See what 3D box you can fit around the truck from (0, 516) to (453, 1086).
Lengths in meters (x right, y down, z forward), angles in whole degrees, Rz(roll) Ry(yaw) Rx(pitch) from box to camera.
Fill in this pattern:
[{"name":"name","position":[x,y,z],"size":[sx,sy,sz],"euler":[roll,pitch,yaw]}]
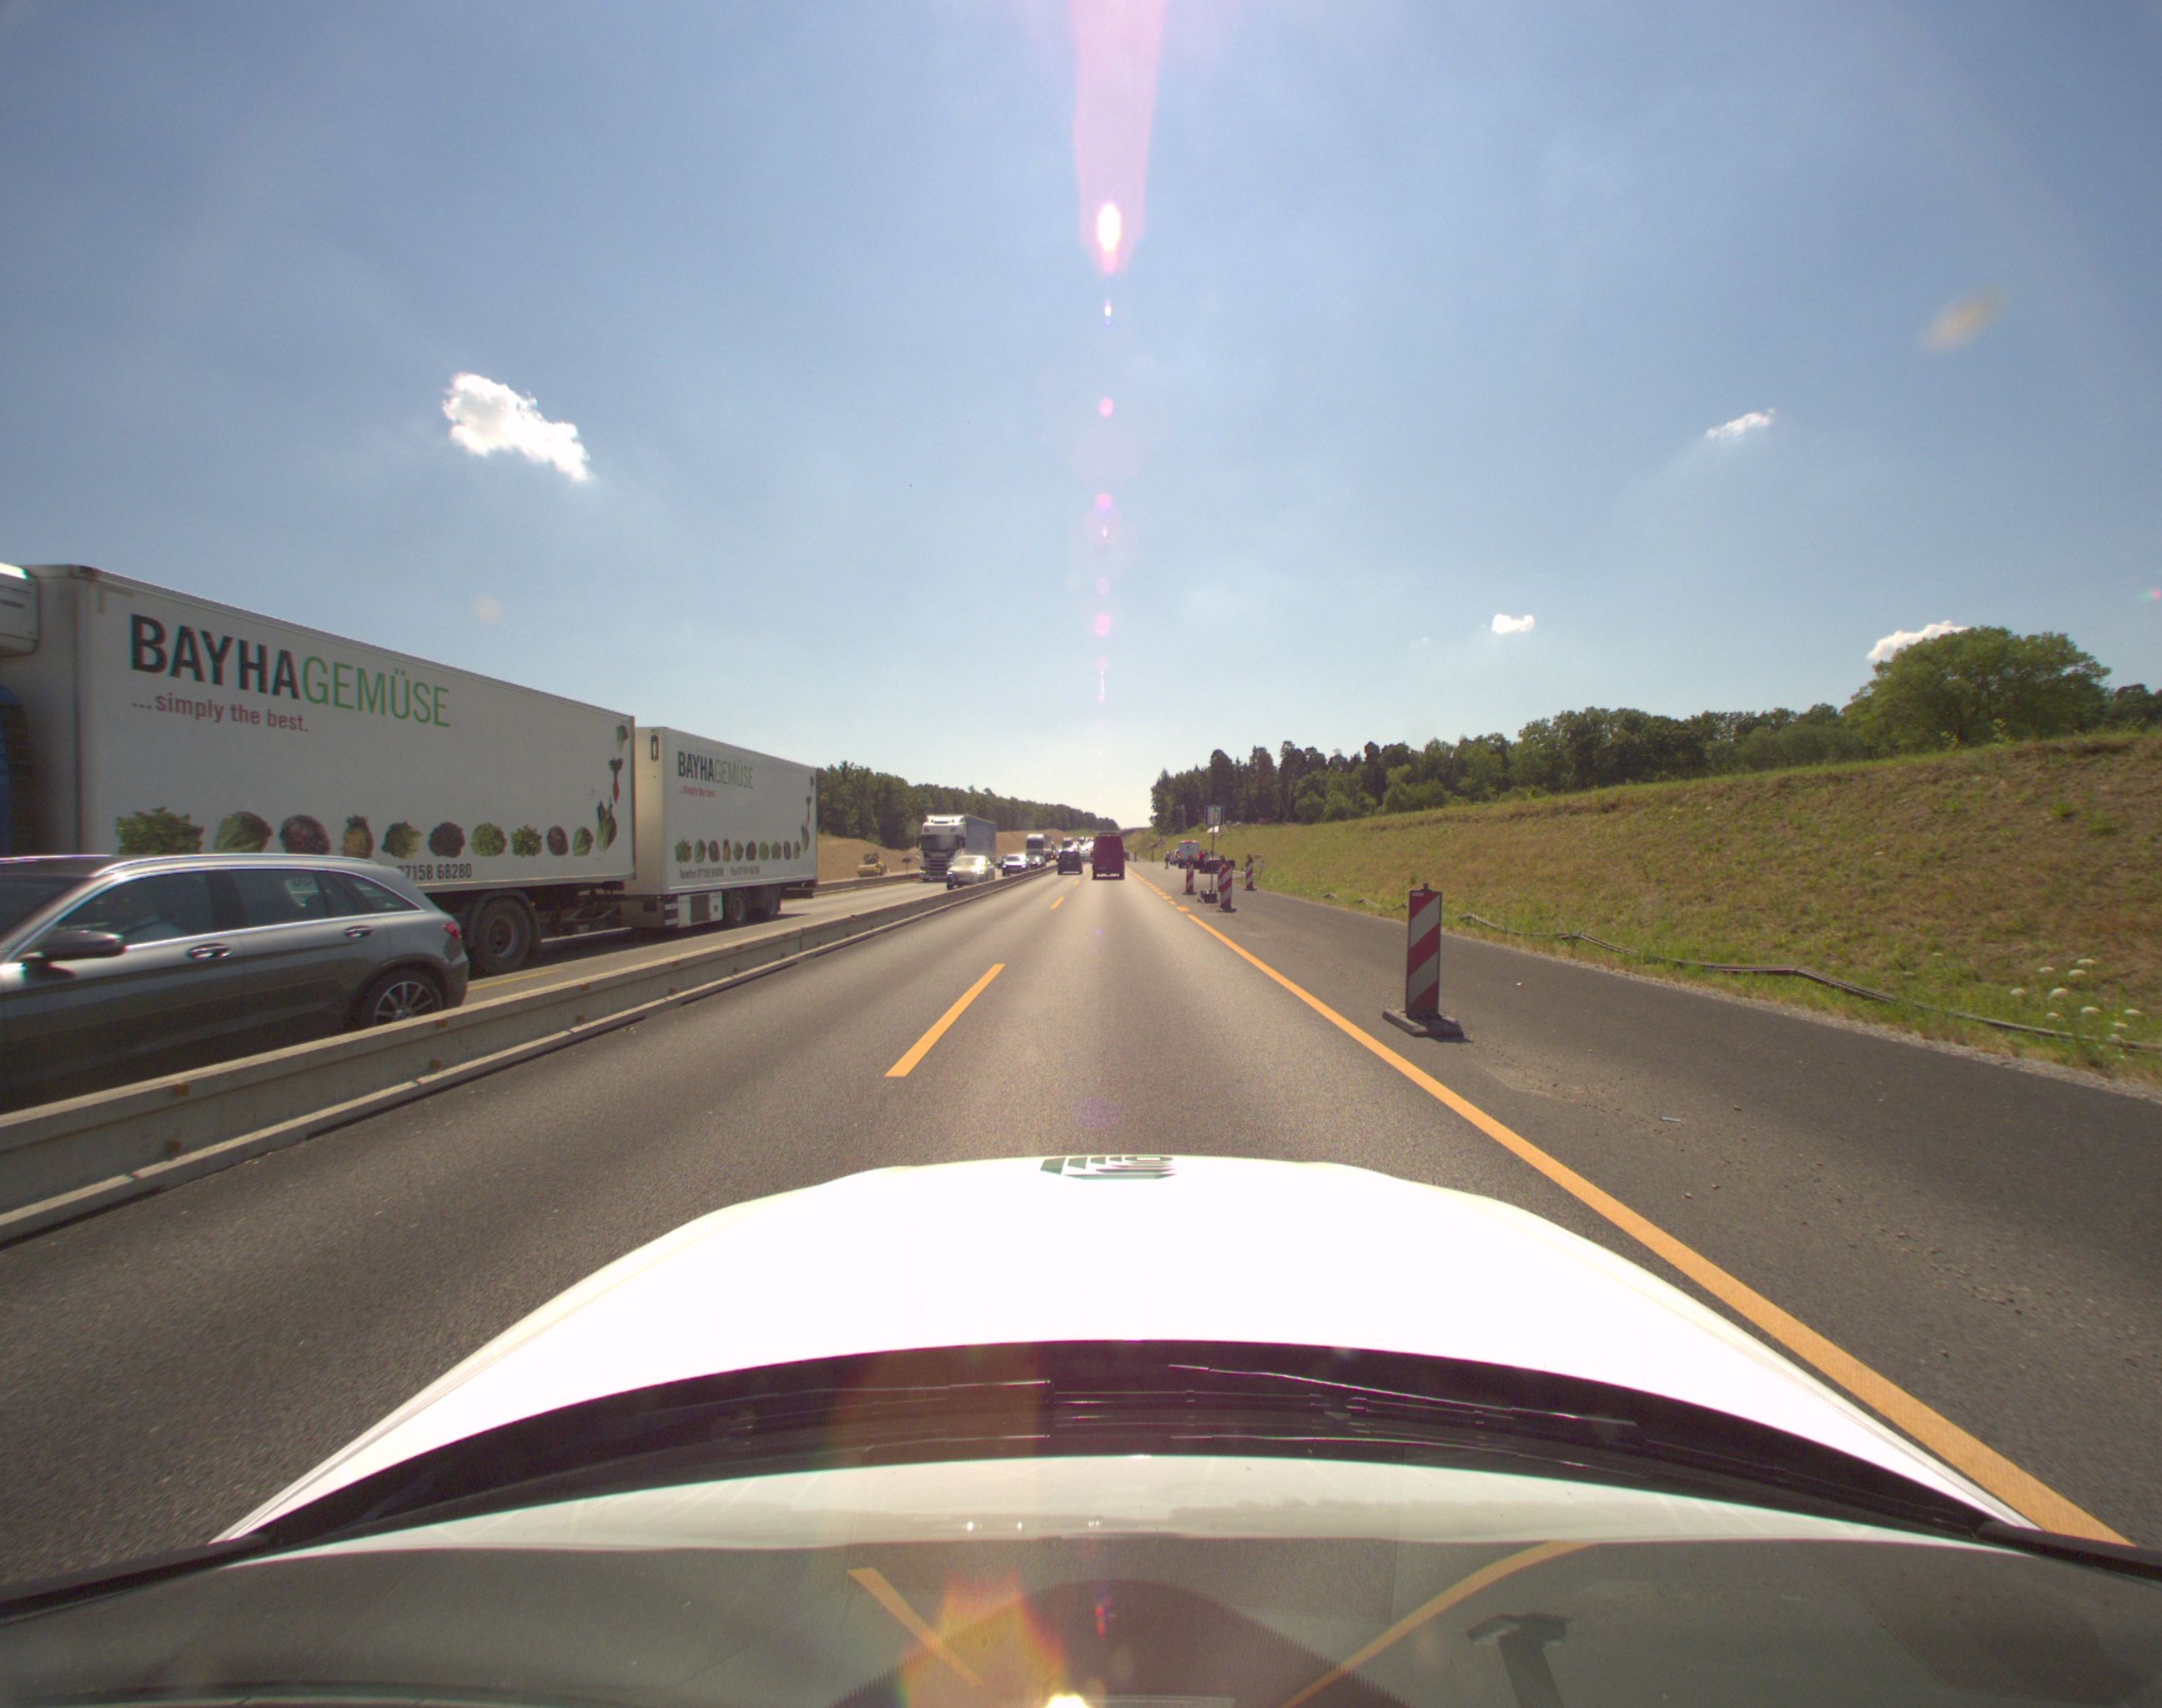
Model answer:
[{"name":"truck","position":[-9.137,-0.359,7.050],"size":[2.481,4.198,5.916],"euler":[-2,0,3]}]

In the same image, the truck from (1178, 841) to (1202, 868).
[{"name":"truck","position":[10.513,0.010,78.287],"size":[2.117,2.457,5.940],"euler":[0,0,9]}]

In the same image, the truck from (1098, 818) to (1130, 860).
[{"name":"truck","position":[4.789,-2.010,119.359],"size":[4.383,5.496,16.608],"euler":[0,-1,2]}]

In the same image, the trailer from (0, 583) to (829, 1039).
[{"name":"trailer","position":[-8.792,-0.378,15.405],"size":[2.492,4.179,15.541],"euler":[-2,0,2]}]

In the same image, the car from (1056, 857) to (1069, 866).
[{"name":"car","position":[-2.719,1.132,119.878],"size":[1.721,1.387,4.484],"euler":[0,-1,1]}]

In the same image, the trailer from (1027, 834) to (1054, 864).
[{"name":"trailer","position":[-5.799,-0.710,119.055],"size":[2.780,4.075,13.715],"euler":[0,0,2]}]

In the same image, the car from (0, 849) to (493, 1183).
[{"name":"car","position":[-6.044,0.798,4.817],"size":[1.682,1.613,4.594],"euler":[0,-1,1]}]

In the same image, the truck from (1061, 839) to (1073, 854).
[{"name":"truck","position":[-3.530,-1.858,212.444],"size":[2.499,3.617,9.646],"euler":[0,-1,2]}]

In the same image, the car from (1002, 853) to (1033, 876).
[{"name":"car","position":[-4.571,0.739,58.870],"size":[1.769,1.555,4.139],"euler":[-3,0,1]}]

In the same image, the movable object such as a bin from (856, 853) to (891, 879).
[{"name":"movable object such as a bin","position":[-26.336,1.458,103.843],"size":[2.160,3.109,7.169],"euler":[-3,0,2]}]

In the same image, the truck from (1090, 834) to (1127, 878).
[{"name":"truck","position":[1.737,0.158,50.792],"size":[2.145,2.590,5.336],"euler":[0,-1,2]}]

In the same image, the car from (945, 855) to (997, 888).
[{"name":"car","position":[-5.125,0.812,38.345],"size":[1.801,1.488,4.243],"euler":[0,-1,1]}]

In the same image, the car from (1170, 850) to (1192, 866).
[{"name":"car","position":[11.241,0.444,91.953],"size":[1.770,1.677,4.852],"euler":[0,1,-2]}]

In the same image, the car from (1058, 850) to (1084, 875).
[{"name":"car","position":[-0.731,0.609,62.094],"size":[1.745,1.824,4.784],"euler":[0,0,2]}]

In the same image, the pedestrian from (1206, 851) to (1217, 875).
[{"name":"pedestrian","position":[10.108,0.663,63.063],"size":[0.624,1.828,0.640],"euler":[0,0,-10]}]

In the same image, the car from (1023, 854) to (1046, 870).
[{"name":"car","position":[-4.172,0.743,73.875],"size":[1.723,1.387,4.861],"euler":[0,-1,1]}]

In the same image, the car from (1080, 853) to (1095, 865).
[{"name":"car","position":[0.853,0.622,106.075],"size":[1.824,1.522,3.962],"euler":[0,-1,2]}]

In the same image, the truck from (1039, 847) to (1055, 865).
[{"name":"truck","position":[-5.732,0.393,137.986],"size":[2.389,3.059,5.065],"euler":[0,-1,2]}]

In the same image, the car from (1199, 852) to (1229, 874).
[{"name":"car","position":[9.795,0.639,60.219],"size":[1.647,1.426,4.547],"euler":[-3,0,2]}]

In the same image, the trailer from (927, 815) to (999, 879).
[{"name":"trailer","position":[-7.988,-0.439,57.262],"size":[2.643,3.938,14.001],"euler":[0,0,2]}]

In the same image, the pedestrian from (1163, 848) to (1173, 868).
[{"name":"pedestrian","position":[7.976,0.392,74.637],"size":[0.725,1.828,0.716],"euler":[0,-1,-15]}]

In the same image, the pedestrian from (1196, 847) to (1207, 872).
[{"name":"pedestrian","position":[8.858,0.399,59.767],"size":[0.642,1.828,0.555],"euler":[0,0,-19]}]

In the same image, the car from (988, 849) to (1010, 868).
[{"name":"car","position":[-8.310,0.453,82.578],"size":[1.711,1.875,4.002],"euler":[0,-1,2]}]

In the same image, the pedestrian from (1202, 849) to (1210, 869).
[{"name":"pedestrian","position":[11.421,0.446,74.316],"size":[0.561,1.795,0.667],"euler":[0,-1,0]}]

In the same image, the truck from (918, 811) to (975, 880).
[{"name":"truck","position":[-8.170,-0.495,50.072],"size":[2.583,4.053,5.150],"euler":[0,0,1]}]

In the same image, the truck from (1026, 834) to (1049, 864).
[{"name":"truck","position":[-5.965,-0.656,112.269],"size":[2.758,4.044,4.946],"euler":[0,-1,2]}]
